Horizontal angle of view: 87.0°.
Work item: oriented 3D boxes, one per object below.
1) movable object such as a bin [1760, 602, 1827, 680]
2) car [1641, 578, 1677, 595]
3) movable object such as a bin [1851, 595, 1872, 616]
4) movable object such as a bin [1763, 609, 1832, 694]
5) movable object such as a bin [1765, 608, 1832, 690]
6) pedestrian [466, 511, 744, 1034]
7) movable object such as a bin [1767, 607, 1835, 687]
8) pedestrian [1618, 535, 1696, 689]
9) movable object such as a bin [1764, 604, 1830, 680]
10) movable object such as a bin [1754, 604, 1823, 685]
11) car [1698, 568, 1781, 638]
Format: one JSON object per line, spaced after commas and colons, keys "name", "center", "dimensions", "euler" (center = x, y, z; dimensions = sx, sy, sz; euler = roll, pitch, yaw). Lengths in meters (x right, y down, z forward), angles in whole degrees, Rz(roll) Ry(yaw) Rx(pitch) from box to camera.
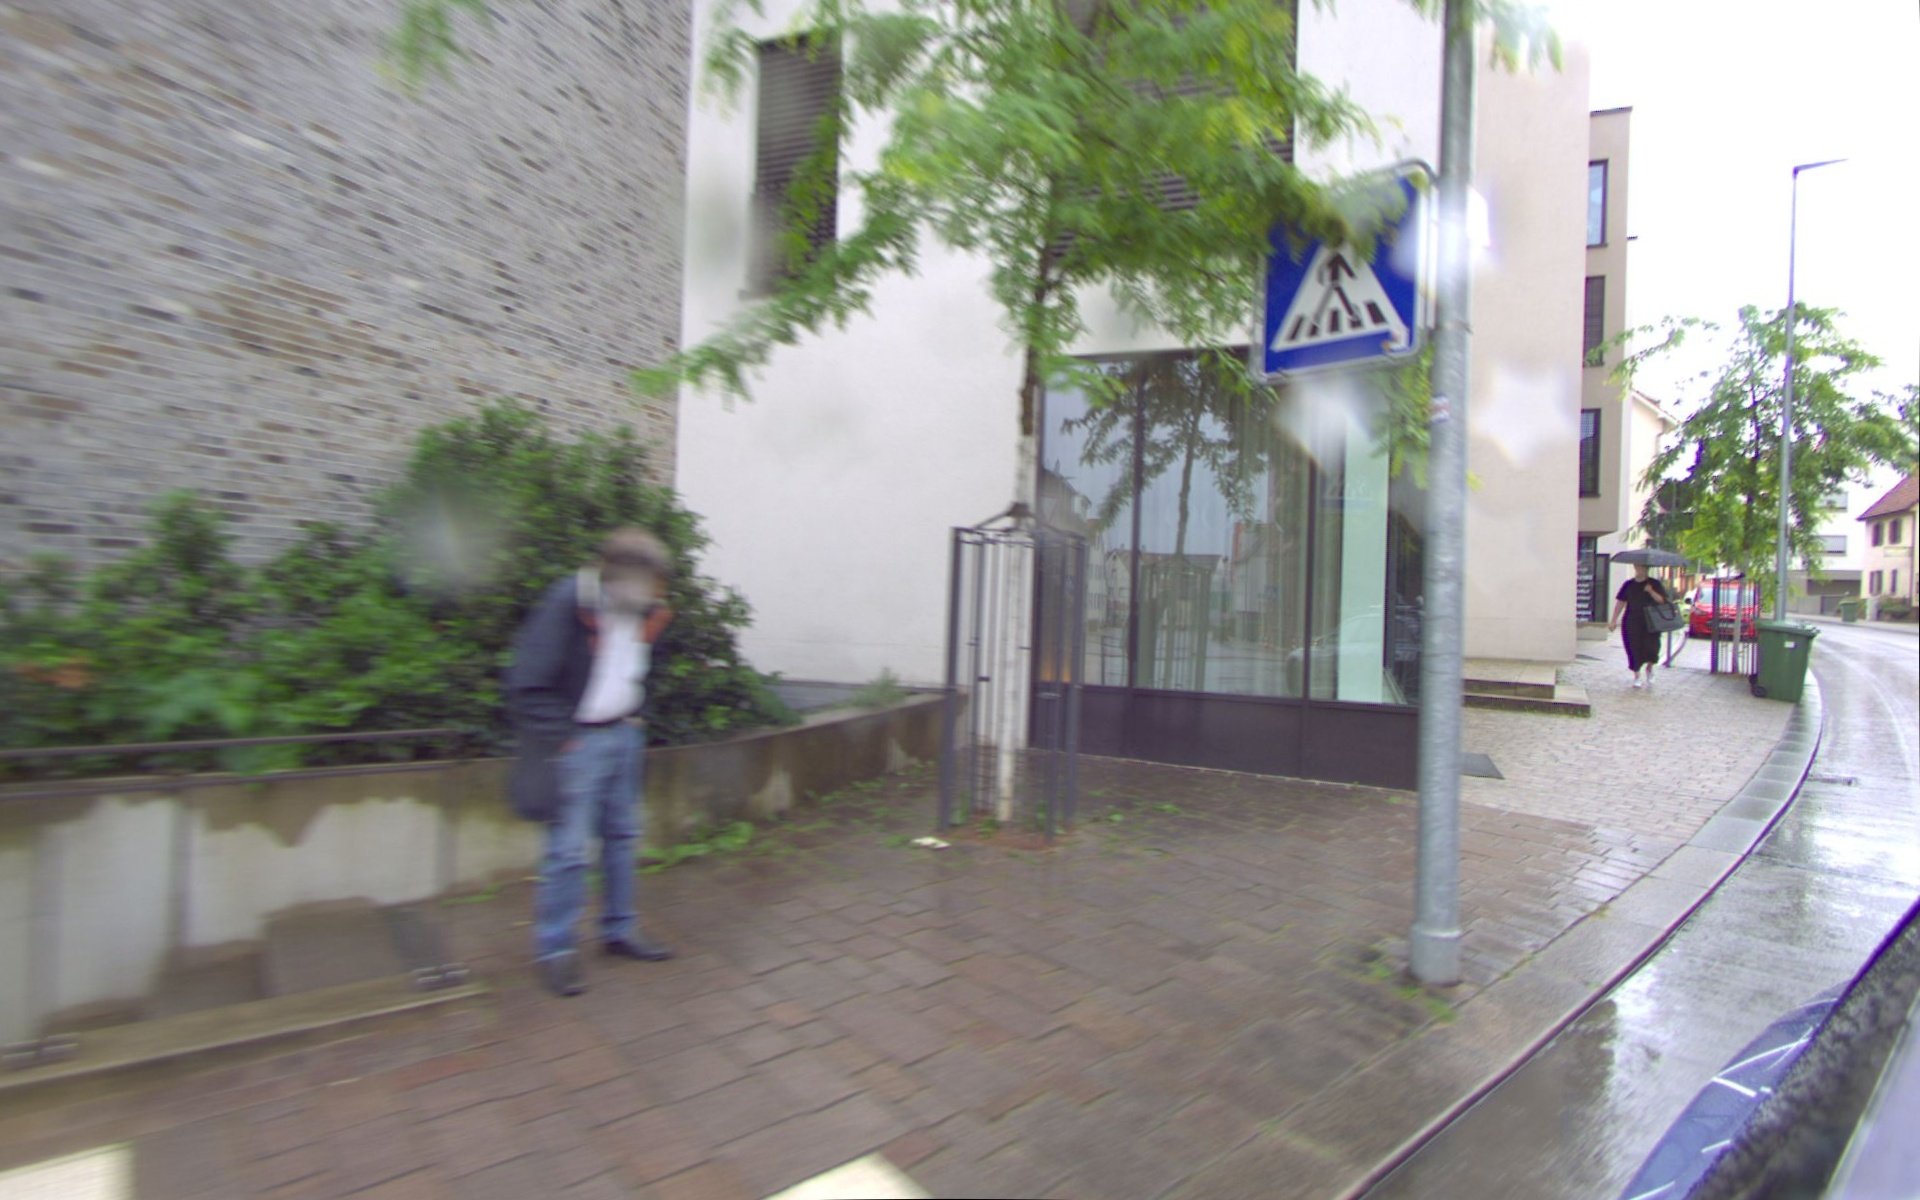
{"name": "movable object such as a bin", "center": [13.492, 0.647, 16.390], "dimensions": [0.752, 1.185, 0.620], "euler": [3, 3, 45]}
{"name": "car", "center": [67.370, -1.325, 97.600], "dimensions": [1.977, 1.463, 3.971], "euler": [1, 2, 22]}
{"name": "movable object such as a bin", "center": [47.446, 0.306, 53.252], "dimensions": [0.710, 1.072, 0.569], "euler": [1, 2, 32]}
{"name": "movable object such as a bin", "center": [11.811, 0.713, 14.268], "dimensions": [0.723, 1.132, 0.568], "euler": [1, 1, 42]}
{"name": "movable object such as a bin", "center": [12.184, 0.700, 14.710], "dimensions": [0.723, 1.132, 0.568], "euler": [1, 1, 42]}
{"name": "pedestrian", "center": [-1.243, 0.519, 3.581], "dimensions": [0.580, 1.625, 0.695], "euler": [3, 2, 34]}
{"name": "movable object such as a bin", "center": [12.595, 0.686, 15.153], "dimensions": [0.761, 1.132, 0.614], "euler": [1, 1, 42]}
{"name": "pedestrian", "center": [9.741, 0.140, 14.139], "dimensions": [0.865, 2.039, 1.069], "euler": [1, 1, 36]}
{"name": "movable object such as a bin", "center": [13.940, 0.682, 16.860], "dimensions": [0.752, 1.185, 0.620], "euler": [3, 3, 45]}
{"name": "movable object such as a bin", "center": [13.035, 0.681, 15.919], "dimensions": [0.752, 1.185, 0.620], "euler": [3, 3, 45]}
{"name": "car", "center": [24.310, 0.016, 31.643], "dimensions": [1.832, 1.930, 4.543], "euler": [4, 4, 37]}
